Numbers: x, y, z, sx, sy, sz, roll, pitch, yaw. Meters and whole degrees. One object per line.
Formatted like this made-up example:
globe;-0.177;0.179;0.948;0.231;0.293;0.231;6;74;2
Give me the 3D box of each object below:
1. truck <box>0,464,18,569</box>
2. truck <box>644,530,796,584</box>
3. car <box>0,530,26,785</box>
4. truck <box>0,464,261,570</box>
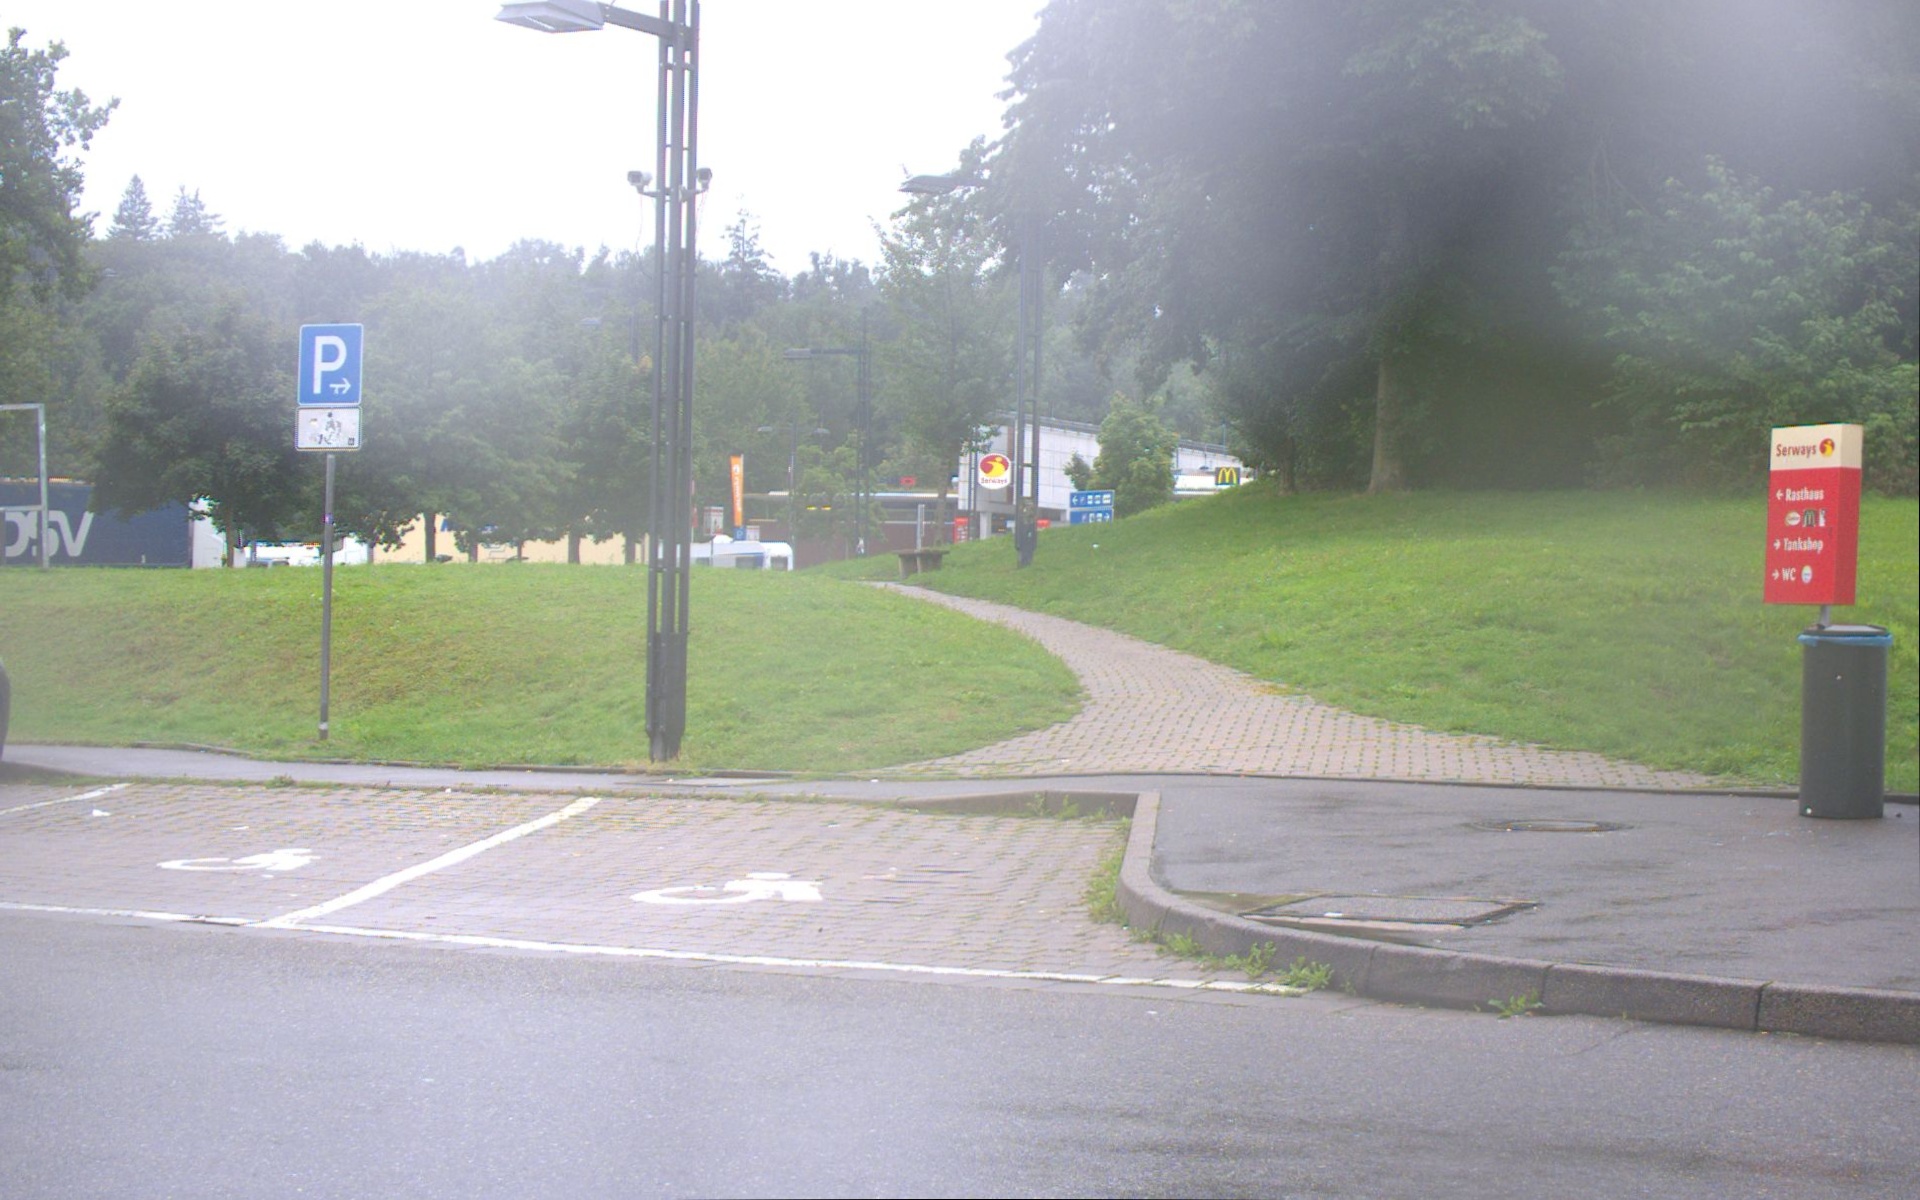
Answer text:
truck;-28.609;-2.349;94.655;2.189;2.910;5.380;1;1;24
truck;-9.335;-1.673;133.803;5.413;2.007;2.364;1;1;25
car;-7.805;0.449;21.489;2.018;1.705;4.341;-1;1;12
truck;-25.471;-2.375;101.625;2.188;2.910;13.082;1;1;24
